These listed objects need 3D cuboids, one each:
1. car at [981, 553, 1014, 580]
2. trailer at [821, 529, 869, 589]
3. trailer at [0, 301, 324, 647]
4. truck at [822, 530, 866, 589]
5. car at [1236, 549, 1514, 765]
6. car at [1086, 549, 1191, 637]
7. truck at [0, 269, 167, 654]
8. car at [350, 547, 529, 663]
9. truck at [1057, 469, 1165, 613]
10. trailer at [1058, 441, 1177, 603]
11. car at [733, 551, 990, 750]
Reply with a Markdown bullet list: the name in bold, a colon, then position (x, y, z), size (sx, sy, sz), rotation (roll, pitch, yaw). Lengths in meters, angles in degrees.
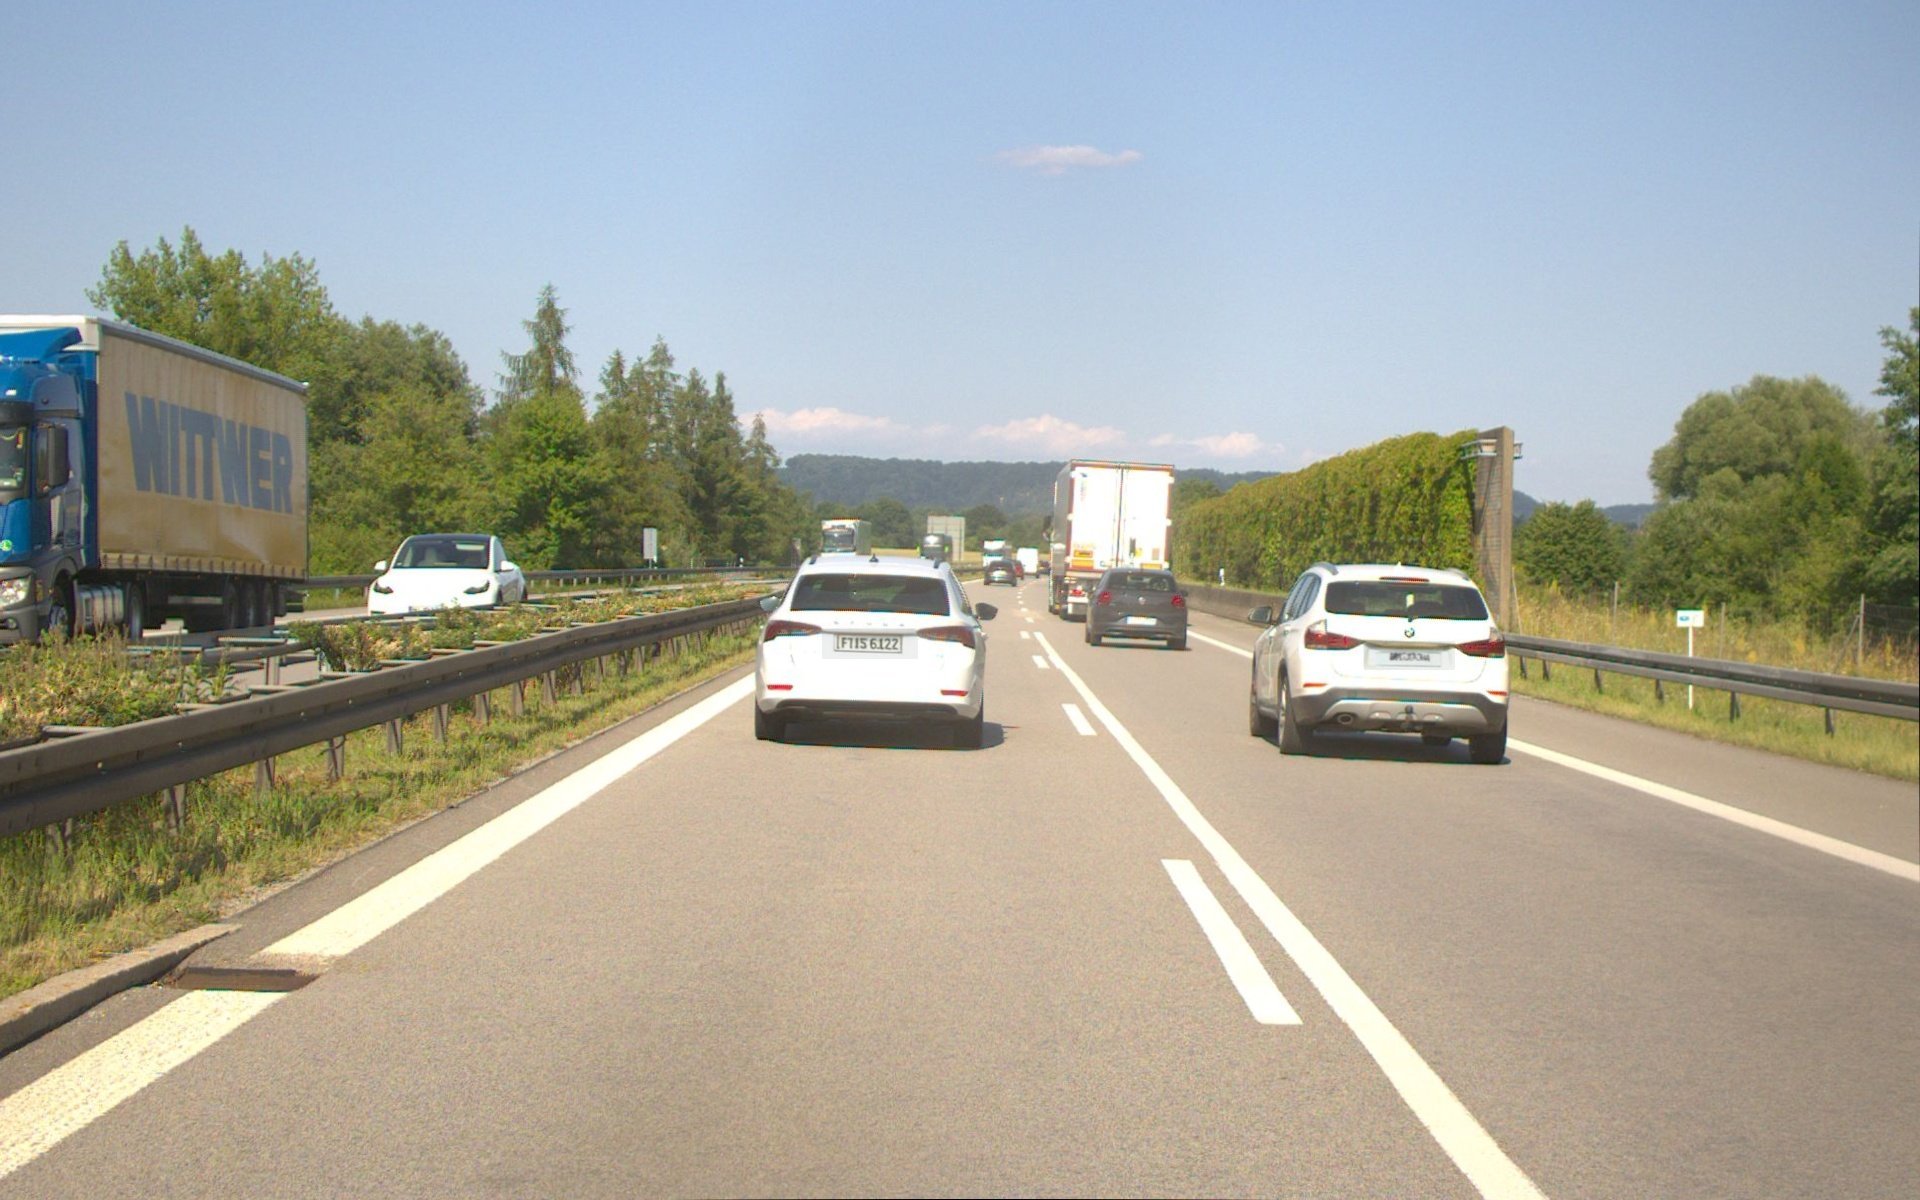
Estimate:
- **car**: position (2.138, -1.926, 194.382), size (1.771, 1.416, 4.495), rotation (3, 1, 0)
- **trailer**: position (-7.959, -2.890, 240.007), size (2.661, 3.994, 14.088), rotation (1, 1, 1)
- **trailer**: position (-11.694, -1.633, 48.520), size (2.787, 4.146, 14.395), rotation (1, 1, 0)
- **truck**: position (-7.956, -2.800, 236.549), size (2.644, 3.994, 7.193), rotation (1, 1, 1)
- **car**: position (3.369, 0.401, 28.746), size (1.684, 1.491, 4.987), rotation (3, 2, 0)
- **car**: position (3.207, -0.150, 62.456), size (1.665, 1.449, 4.544), rotation (3, 1, 1)
- **truck**: position (-11.675, -1.610, 41.536), size (2.740, 4.288, 6.335), rotation (1, 1, 0)
- **car**: position (-7.730, 0.038, 51.433), size (1.993, 1.659, 4.634), rotation (0, 1, 0)
- **truck**: position (4.276, -1.683, 98.788), size (2.840, 3.953, 7.044), rotation (1, 1, 1)
- **trailer**: position (4.089, -2.030, 92.071), size (2.818, 3.953, 14.160), rotation (1, 1, 1)
- **car**: position (-0.707, 0.335, 28.046), size (1.840, 1.416, 5.254), rotation (1, 1, 1)
